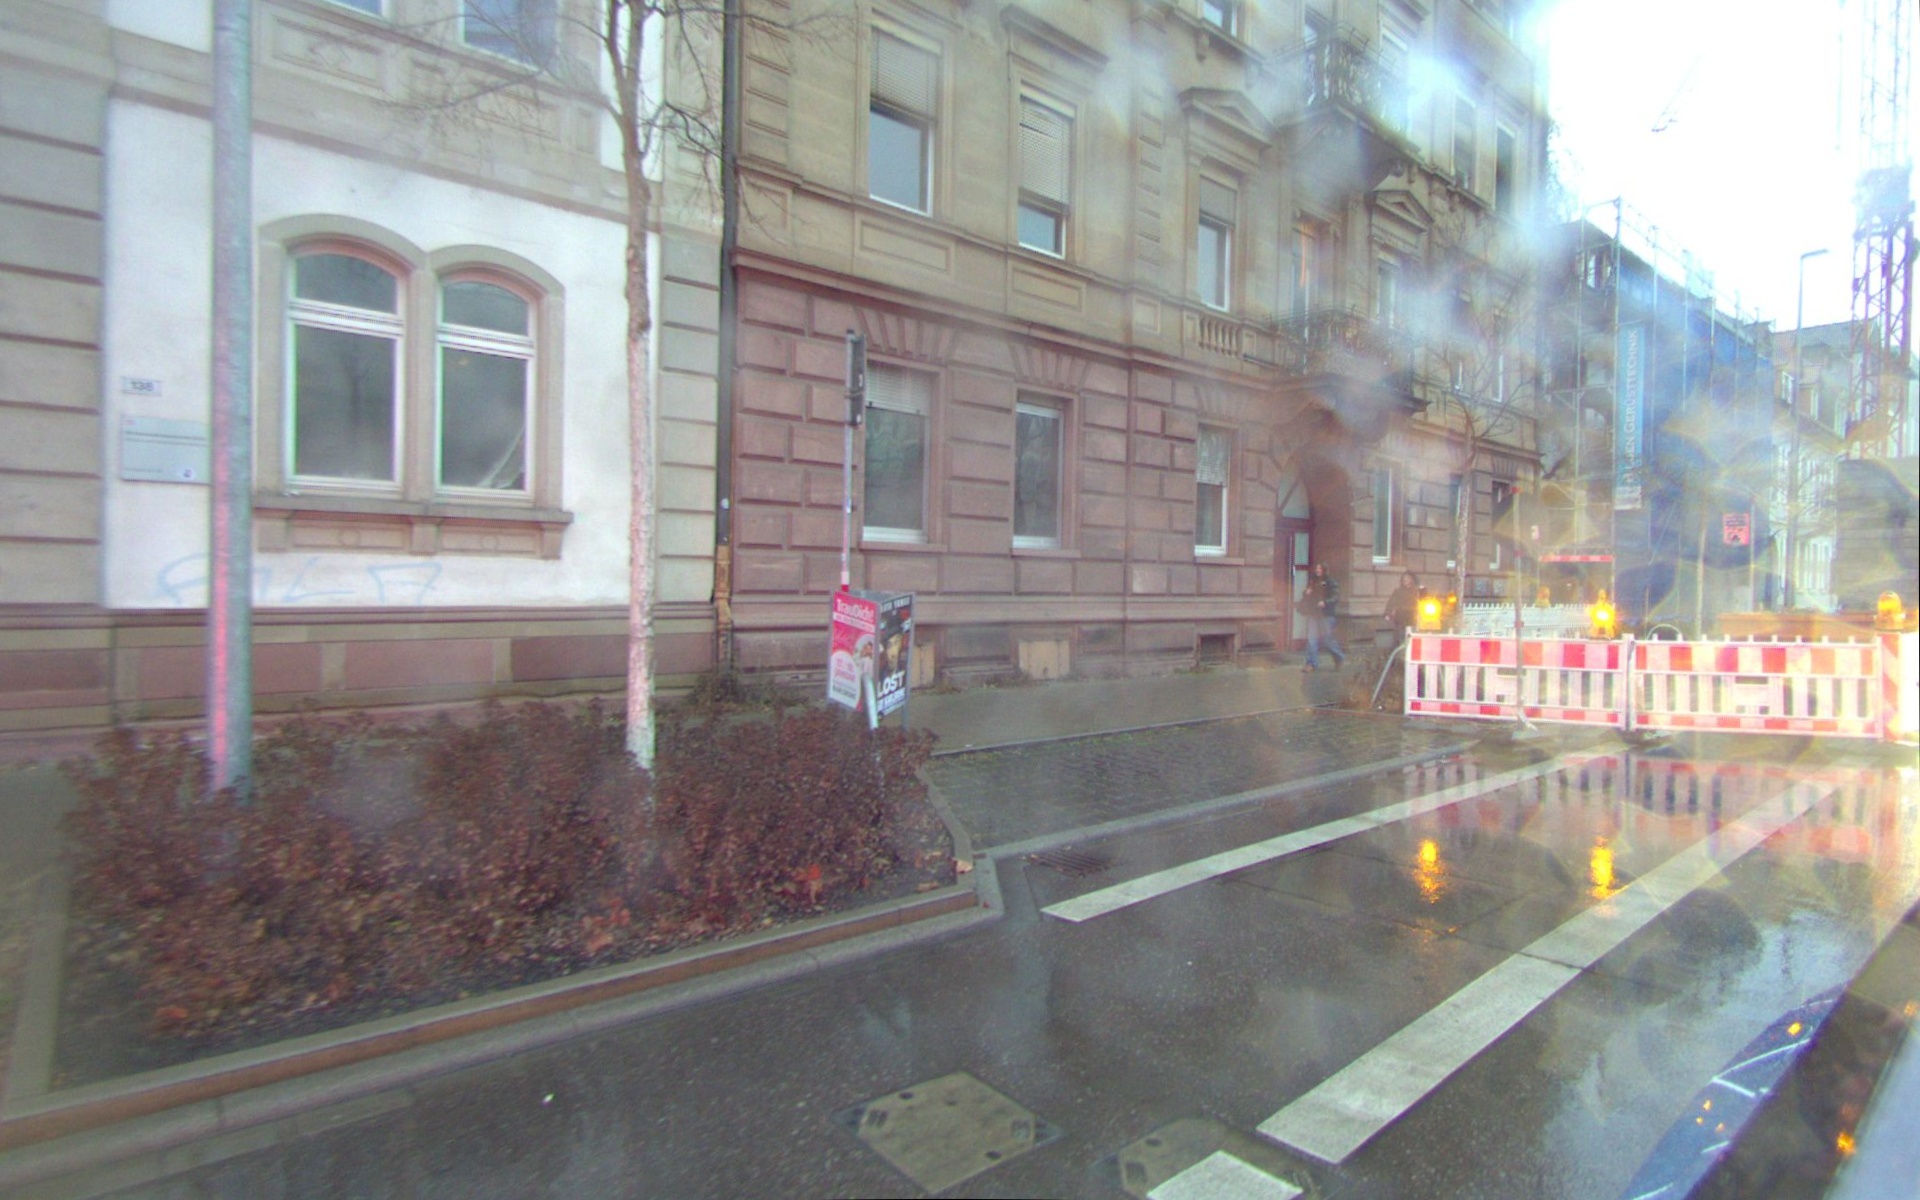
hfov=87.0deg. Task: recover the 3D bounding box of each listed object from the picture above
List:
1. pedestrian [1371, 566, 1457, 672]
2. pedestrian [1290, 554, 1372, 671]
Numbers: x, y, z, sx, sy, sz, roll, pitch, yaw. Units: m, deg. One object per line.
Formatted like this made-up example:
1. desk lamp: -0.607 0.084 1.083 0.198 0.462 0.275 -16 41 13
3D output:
1. pedestrian: 7.038 0.277 15.687 0.913 1.564 0.870 0 2 -40
2. pedestrian: 5.549 0.166 15.144 0.693 1.693 0.871 0 2 -37
